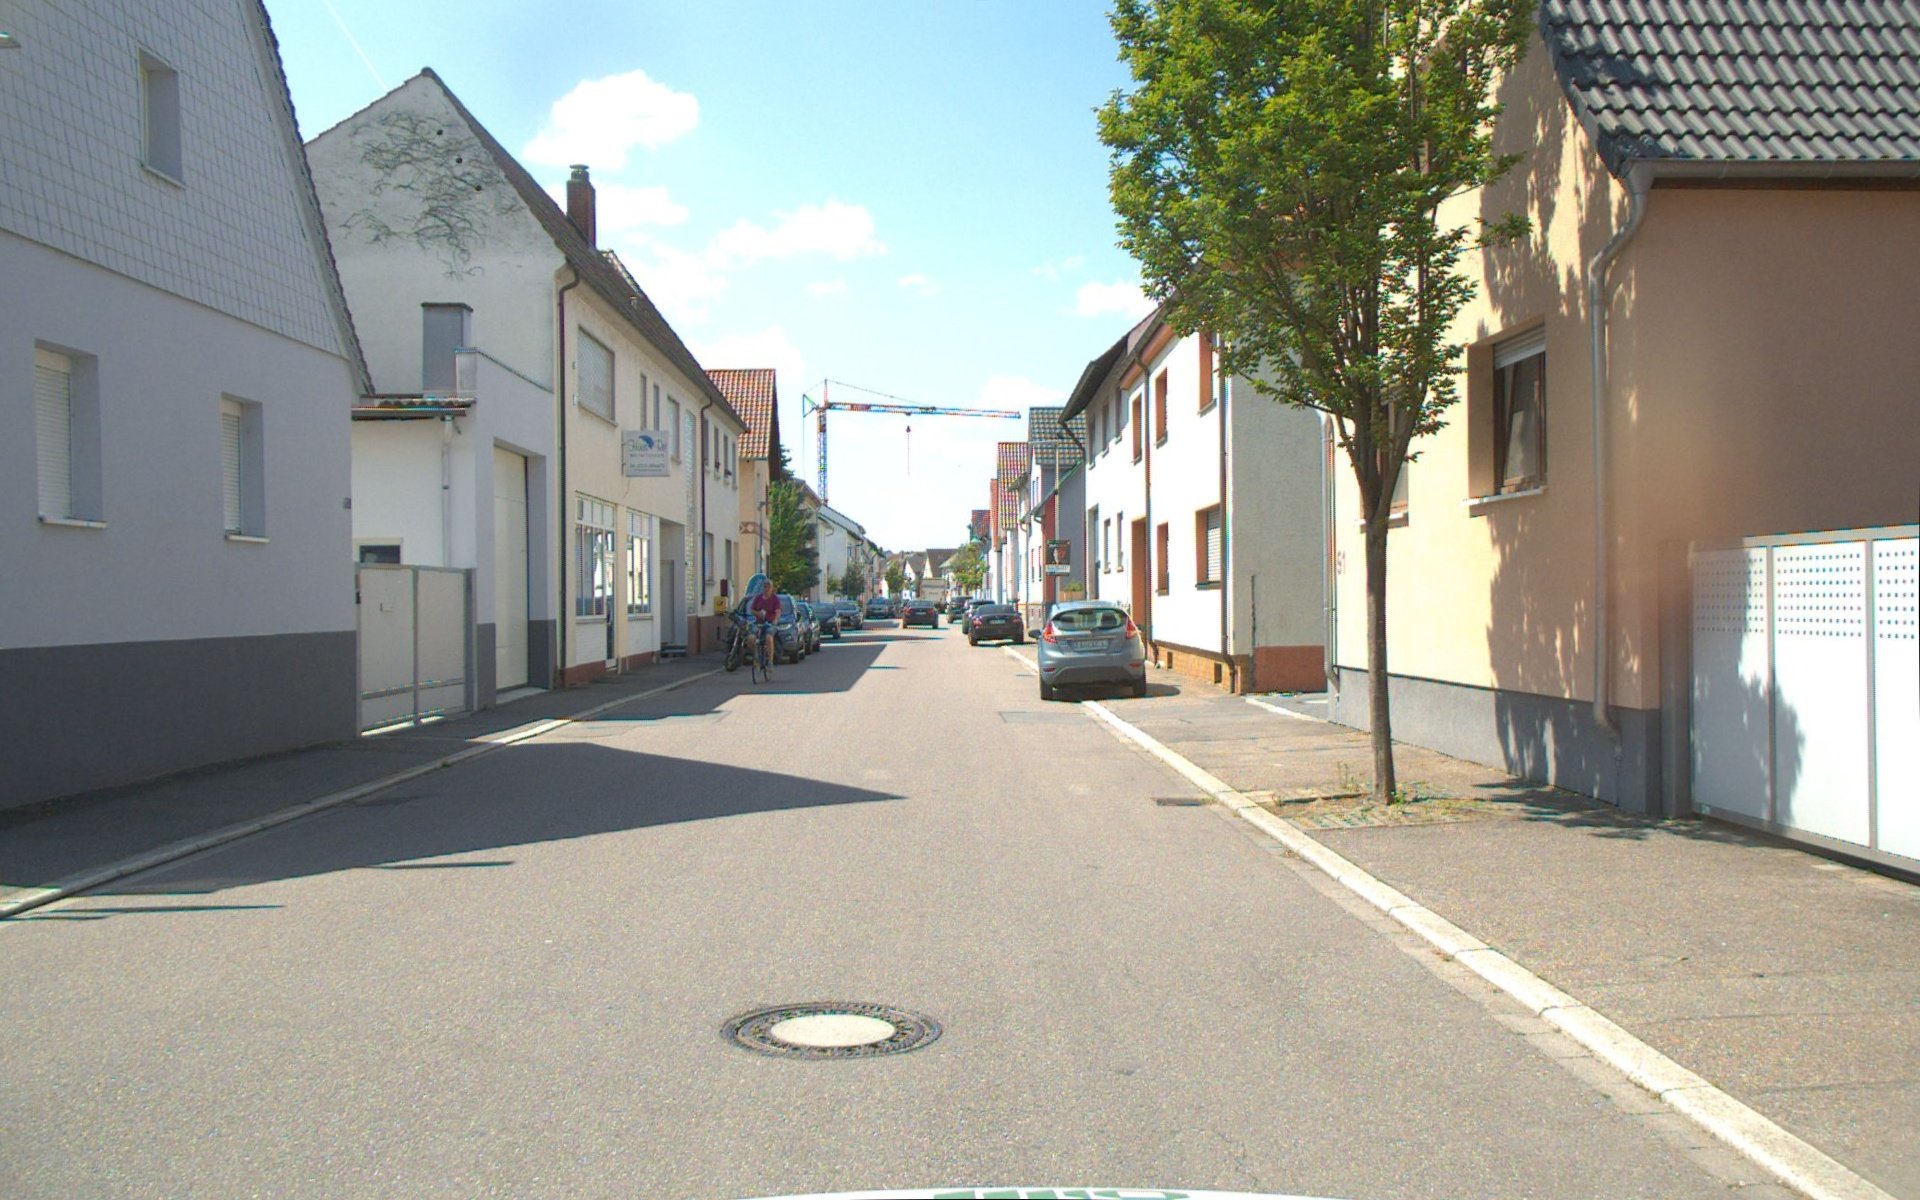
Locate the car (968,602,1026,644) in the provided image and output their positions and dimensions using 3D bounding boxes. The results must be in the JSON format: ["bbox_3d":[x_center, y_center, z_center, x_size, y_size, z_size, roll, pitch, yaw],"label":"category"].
[{"bbox_3d":[1.189,0.732,54.995,1.779,1.298,4.146,-1,0,-1],"label":"car"}]

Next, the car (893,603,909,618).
[{"bbox_3d":[-6.473,1.179,182.008,1.688,1.583,4.171,1,0,-1],"label":"car"}]

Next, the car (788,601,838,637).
[{"bbox_3d":[-5.771,0.728,65.385,1.726,1.398,4.065,0,0,-2],"label":"car"}]

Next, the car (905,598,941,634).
[{"bbox_3d":[-1.938,0.814,84.726,1.747,1.784,3.998,-2,0,-2],"label":"car"}]

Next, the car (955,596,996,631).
[{"bbox_3d":[0.665,0.553,71.678,1.654,1.447,3.656,-1,0,-1],"label":"car"}]

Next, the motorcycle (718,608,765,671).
[{"bbox_3d":[-4.803,0.855,36.455,0.792,1.335,2.105,0,0,-2],"label":"motorcycle"}]

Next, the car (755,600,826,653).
[{"bbox_3d":[-4.860,0.727,47.770,1.663,1.436,4.389,0,0,-1],"label":"car"}]

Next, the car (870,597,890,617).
[{"bbox_3d":[-6.877,0.605,142.639,1.620,1.637,4.059,-1,0,-2],"label":"car"}]

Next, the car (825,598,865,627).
[{"bbox_3d":[-6.006,0.644,86.459,1.732,1.485,4.436,-1,0,0],"label":"car"}]

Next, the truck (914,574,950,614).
[{"bbox_3d":[-3.046,-0.556,174.075,3.311,3.933,13.918,-2,0,-3],"label":"truck"}]

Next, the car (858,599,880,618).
[{"bbox_3d":[-7.457,0.690,135.874,1.723,1.551,4.287,-1,0,-2],"label":"car"}]

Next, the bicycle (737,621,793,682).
[{"bbox_3d":[-3.592,0.928,30.576,0.727,1.066,1.940,0,0,2],"label":"bicycle"}]

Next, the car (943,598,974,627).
[{"bbox_3d":[-0.086,0.785,103.903,1.694,1.747,4.273,-1,0,-3],"label":"car"}]

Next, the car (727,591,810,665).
[{"bbox_3d":[-4.712,0.651,41.137,1.683,1.668,4.147,-2,0,-2],"label":"car"}]

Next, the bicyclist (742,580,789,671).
[{"bbox_3d":[-3.586,0.459,30.579,0.731,1.665,0.956,0,0,2],"label":"bicyclist"}]

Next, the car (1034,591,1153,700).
[{"bbox_3d":[2.083,0.677,26.573,1.686,1.507,3.751,-4,0,3],"label":"car"}]
